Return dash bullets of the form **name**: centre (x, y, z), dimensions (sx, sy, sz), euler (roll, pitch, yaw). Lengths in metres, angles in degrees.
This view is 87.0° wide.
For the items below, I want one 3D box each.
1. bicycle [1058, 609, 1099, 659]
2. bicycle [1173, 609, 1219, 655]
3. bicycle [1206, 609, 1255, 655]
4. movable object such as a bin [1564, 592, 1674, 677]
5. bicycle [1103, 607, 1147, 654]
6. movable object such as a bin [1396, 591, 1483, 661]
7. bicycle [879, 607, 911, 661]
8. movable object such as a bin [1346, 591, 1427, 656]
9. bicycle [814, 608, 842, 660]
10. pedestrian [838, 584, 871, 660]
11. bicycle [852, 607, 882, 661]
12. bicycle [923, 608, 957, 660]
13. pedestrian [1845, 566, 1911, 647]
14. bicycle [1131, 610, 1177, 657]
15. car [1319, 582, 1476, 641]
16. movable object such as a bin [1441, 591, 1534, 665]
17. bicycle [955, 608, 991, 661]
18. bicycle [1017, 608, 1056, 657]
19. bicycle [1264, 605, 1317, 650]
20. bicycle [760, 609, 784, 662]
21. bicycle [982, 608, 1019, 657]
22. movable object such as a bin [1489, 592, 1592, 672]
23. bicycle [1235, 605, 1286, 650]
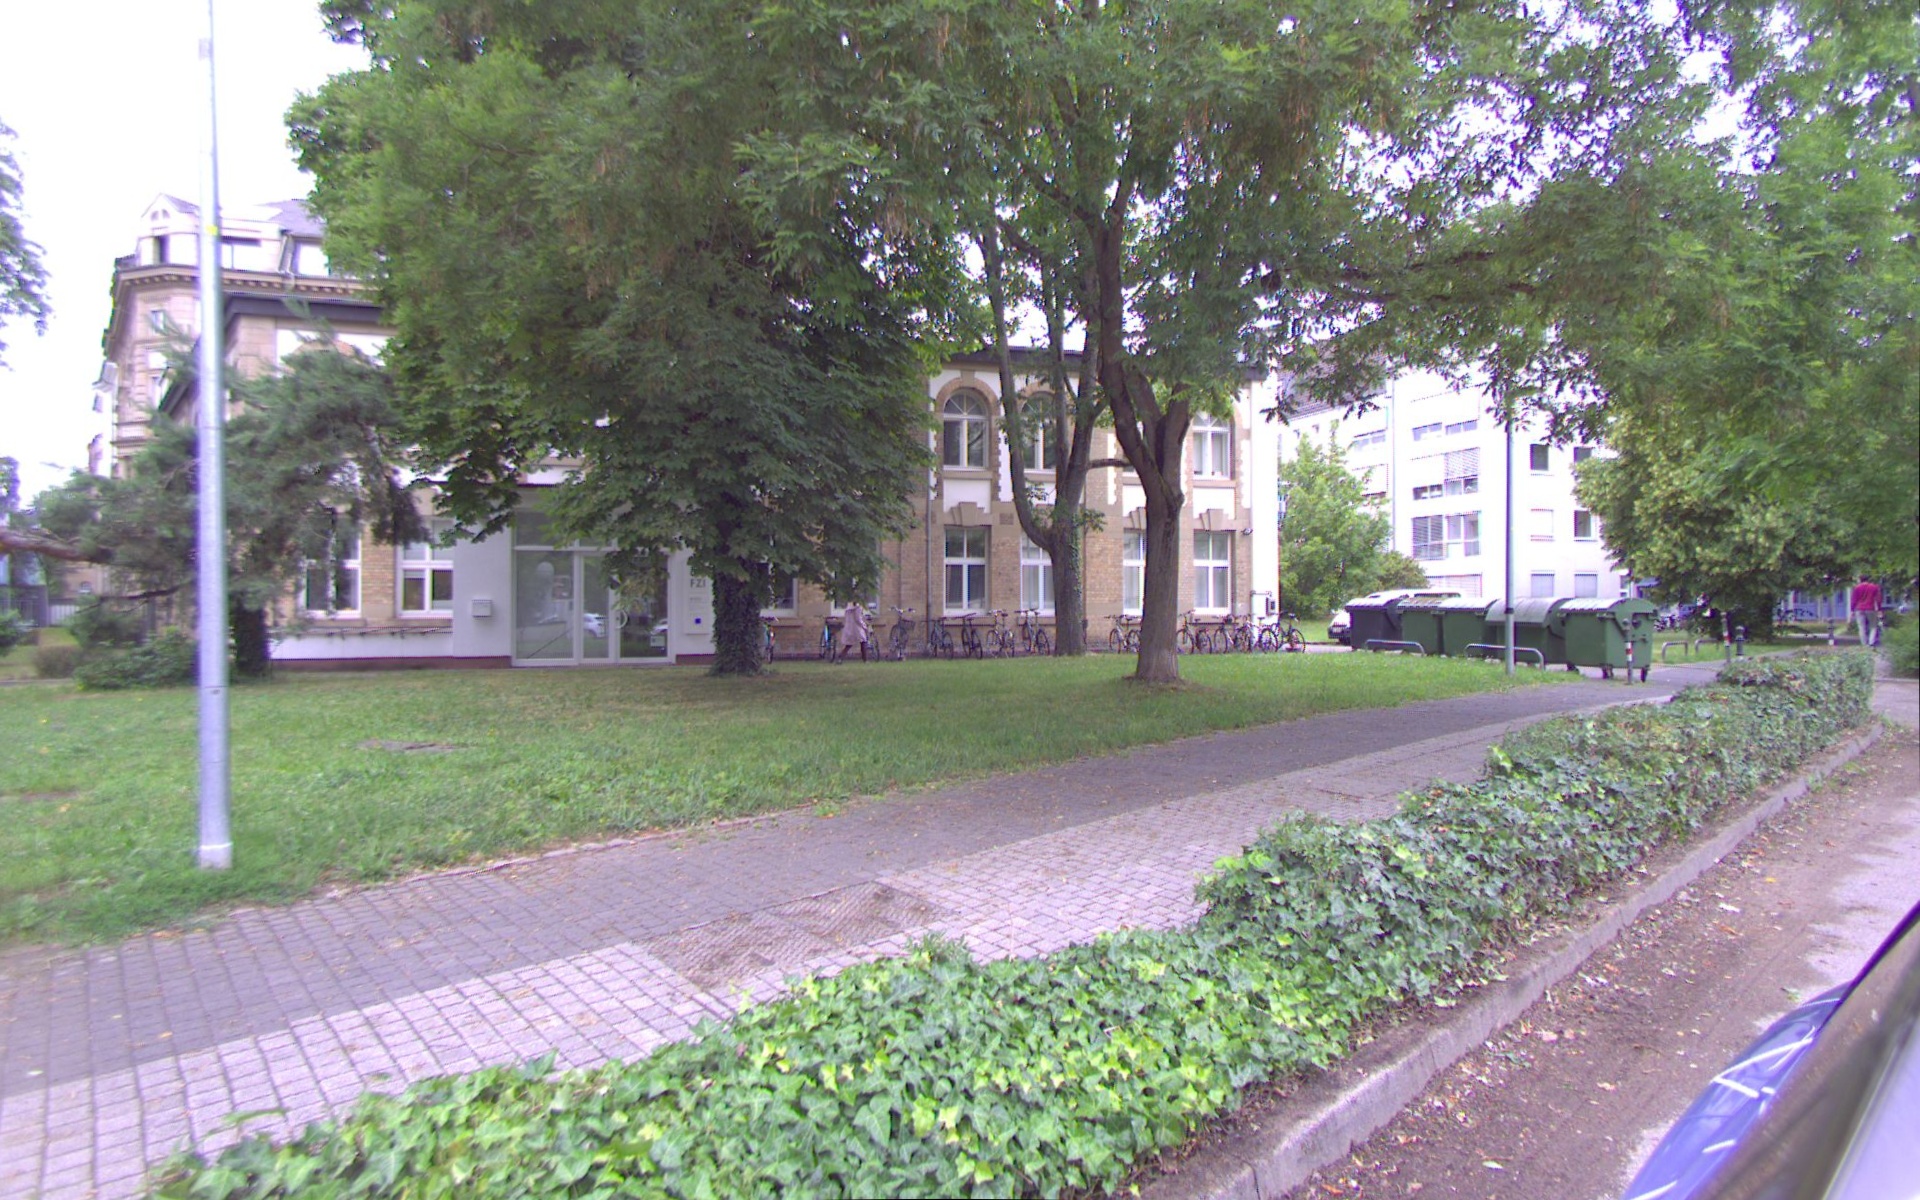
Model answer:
- **bicycle**: centre (2.871, 0.804, 24.663), dimensions (0.451, 1.129, 1.748), euler (0, 0, -13)
- **bicycle**: centre (5.970, 0.789, 25.713), dimensions (0.451, 1.129, 1.747), euler (0, 0, -11)
- **bicycle**: centre (6.971, 0.809, 26.143), dimensions (0.451, 1.129, 1.748), euler (0, 0, -13)
- **movable object such as a bin**: centre (11.650, 0.587, 17.949), dimensions (1.050, 1.452, 1.277), euler (0, 0, -6)
- **bicycle**: centre (4.098, 0.739, 25.247), dimensions (0.451, 1.129, 1.748), euler (0, 0, -13)
- **movable object such as a bin**: centre (10.512, 0.549, 22.236), dimensions (1.085, 1.468, 1.329), euler (0, -1, -21)
- **bicycle**: centre (-1.522, 0.766, 23.553), dimensions (0.451, 1.128, 1.749), euler (0, 3, -13)
- **movable object such as a bin**: centre (9.953, 0.535, 23.663), dimensions (1.085, 1.468, 1.365), euler (0, 0, -20)
- **bicycle**: centre (-3.019, 0.751, 23.067), dimensions (0.451, 1.129, 1.748), euler (0, 0, -13)
- **pedestrian**: centre (-2.264, 0.460, 21.670), dimensions (0.614, 1.607, 0.605), euler (0, -1, -15)
- **bicycle**: centre (-2.162, 0.769, 23.353), dimensions (0.451, 1.128, 1.748), euler (0, 2, -13)
- **bicycle**: centre (-0.480, 0.777, 23.825), dimensions (0.451, 1.128, 1.748), euler (0, 1, -13)
- **pedestrian**: centre (24.217, 0.167, 26.704), dimensions (1.176, 2.090, 0.796), euler (0, 0, -19)
- **bicycle**: centre (4.849, 0.817, 25.404), dimensions (0.451, 1.129, 1.748), euler (0, 0, -13)
- **car**: centre (14.974, 0.407, 34.723), dimensions (4.673, 1.898, 1.904), euler (0, -3, -13)
- **movable object such as a bin**: centre (10.853, 0.562, 20.869), dimensions (1.085, 1.468, 1.297), euler (0, -1, -21)
- **bicycle**: centre (0.285, 0.789, 24.019), dimensions (0.451, 1.128, 1.749), euler (0, 2, -13)
- **bicycle**: centre (1.839, 0.762, 24.515), dimensions (0.451, 1.129, 1.748), euler (0, 0, -13)
- **bicycle**: centre (8.629, 0.689, 26.502), dimensions (0.451, 1.129, 1.748), euler (0, 0, -14)
- **bicycle**: centre (-4.236, 0.767, 22.738), dimensions (0.451, 1.129, 1.748), euler (0, 0, -13)
- **bicycle**: centre (0.956, 0.761, 24.338), dimensions (0.451, 1.129, 1.748), euler (0, 0, -13)
- **movable object such as a bin**: centre (11.073, 0.588, 19.345), dimensions (1.085, 1.468, 1.289), euler (0, 0, -16)
- **bicycle**: centre (7.791, 0.687, 26.311), dimensions (0.451, 1.129, 1.748), euler (0, 0, -13)
